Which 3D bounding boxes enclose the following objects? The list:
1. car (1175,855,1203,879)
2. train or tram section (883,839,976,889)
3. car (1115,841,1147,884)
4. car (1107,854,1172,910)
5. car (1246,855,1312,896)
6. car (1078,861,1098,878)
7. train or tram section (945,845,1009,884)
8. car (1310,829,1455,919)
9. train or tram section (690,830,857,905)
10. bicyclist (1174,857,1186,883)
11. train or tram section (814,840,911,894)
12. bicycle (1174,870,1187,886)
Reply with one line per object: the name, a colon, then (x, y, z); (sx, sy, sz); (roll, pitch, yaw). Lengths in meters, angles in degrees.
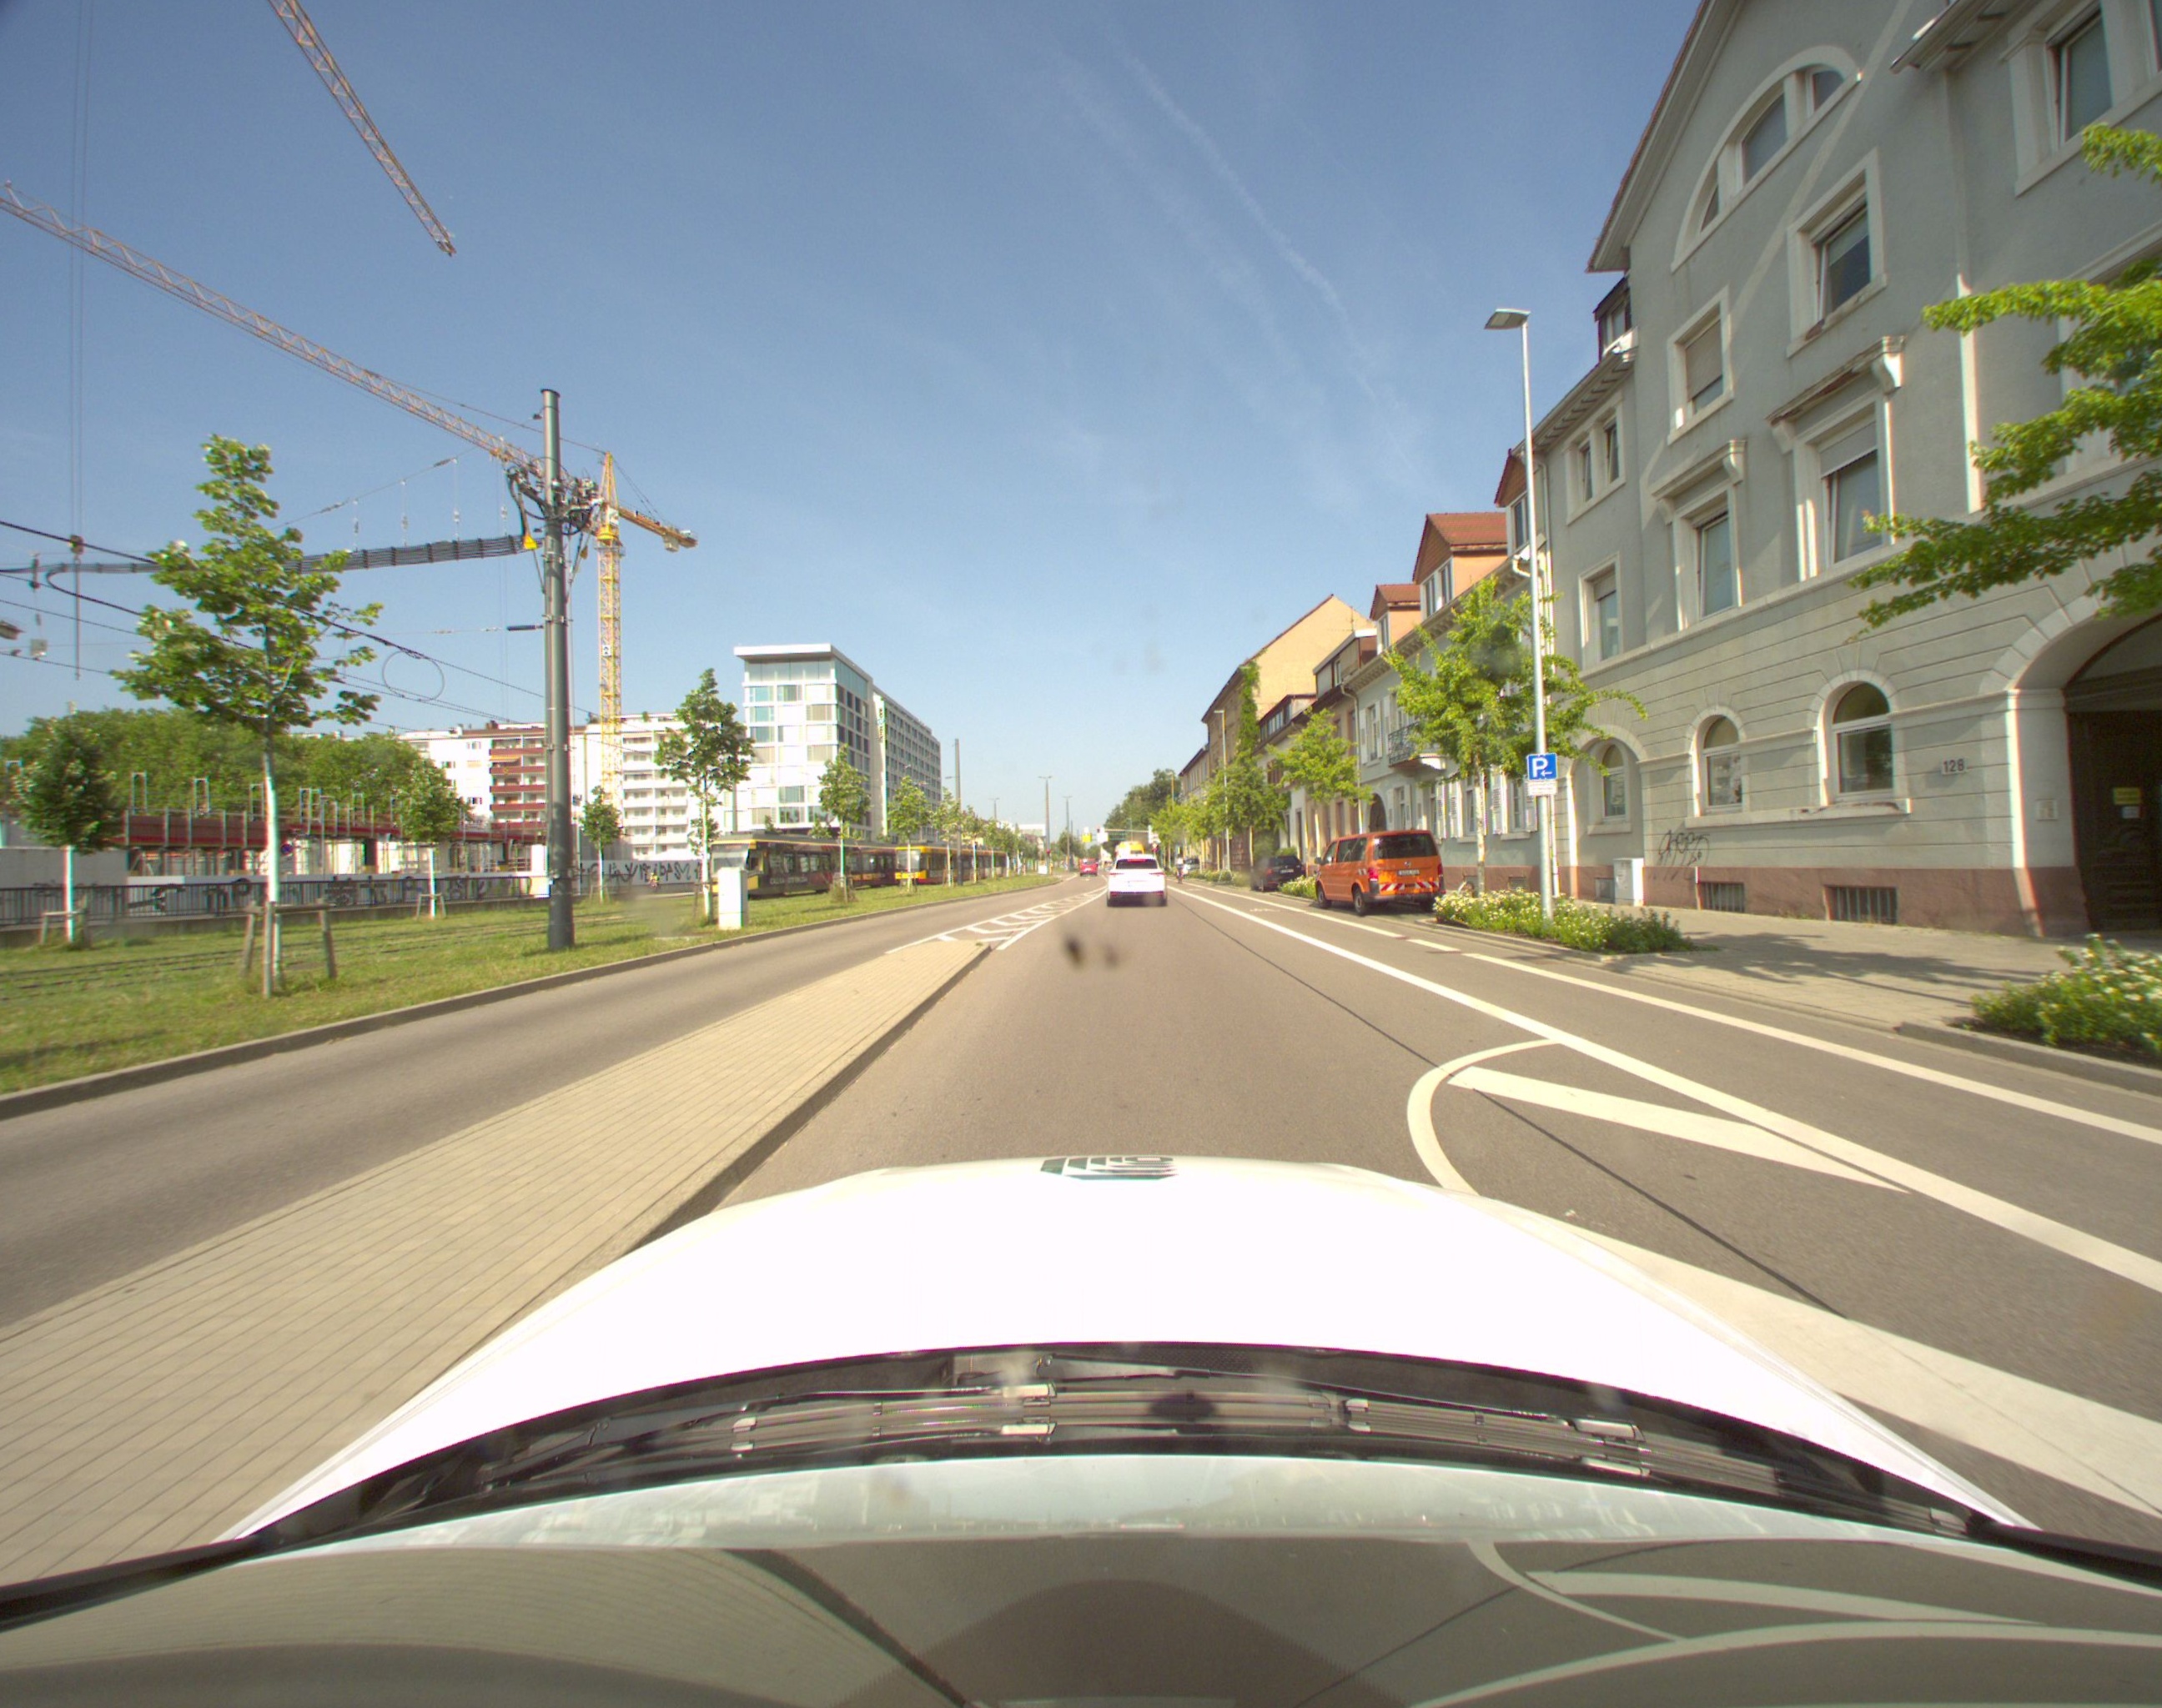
car: (8.451, 1.015, 64.014); (1.806, 1.813, 3.836); (-1, -1, 1)
train or tram section: (-12.200, 0.900, 68.258); (2.892, 3.676, 18.157); (0, -1, 5)
car: (3.425, 0.501, 57.005); (2.012, 2.795, 5.403); (-2, 1, 2)
car: (1.775, 0.835, 25.757); (1.863, 1.575, 4.001); (-2, -1, 2)
car: (8.096, 0.878, 33.677); (1.667, 1.483, 4.313); (-3, -1, 1)
car: (0.801, 1.659, 88.762); (1.923, 1.821, 4.002); (-1, -1, 2)
train or tram section: (-10.680, 1.211, 86.438); (2.892, 3.707, 18.311); (0, -1, 5)
car: (7.503, 0.460, 20.827); (2.056, 2.013, 4.589); (-2, 0, 1)
train or tram section: (-16.732, 0.729, 46.263); (2.848, 3.537, 14.912); (-1, -1, 4)
bicyclist: (6.043, 0.955, 49.676); (0.636, 1.577, 0.772); (-1, -1, 3)
train or tram section: (-15.852, 0.938, 60.607); (2.870, 3.537, 13.617); (-1, -1, 3)
bicycle: (6.057, 1.439, 49.545); (0.652, 0.939, 1.518); (-1, -1, 4)
